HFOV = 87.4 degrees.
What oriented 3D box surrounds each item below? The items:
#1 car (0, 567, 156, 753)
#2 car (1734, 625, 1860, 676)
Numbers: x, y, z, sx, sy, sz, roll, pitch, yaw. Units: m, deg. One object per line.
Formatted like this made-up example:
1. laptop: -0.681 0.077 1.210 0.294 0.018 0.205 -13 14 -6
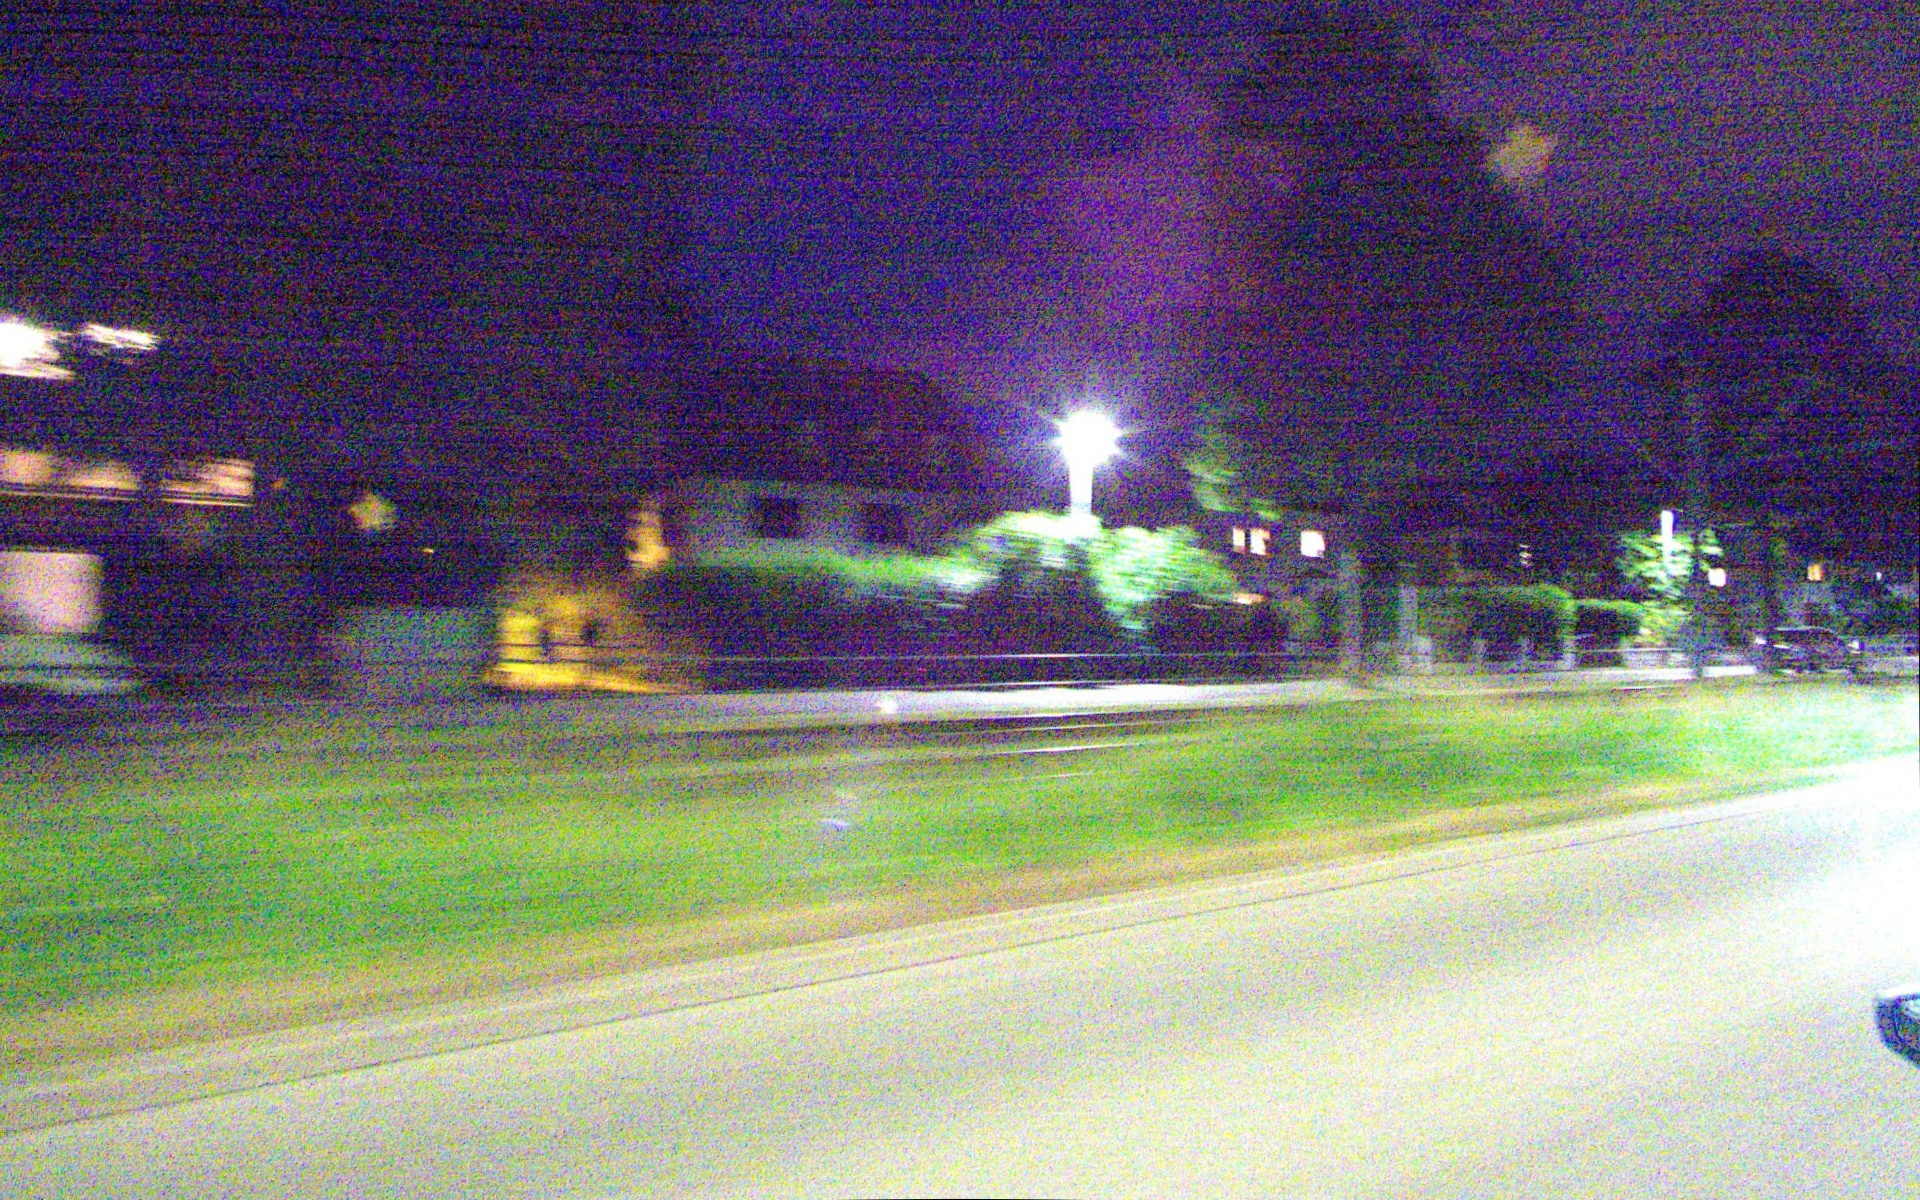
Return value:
1. car: -11.608 0.600 10.462 4.828 1.929 1.846 2 -2 -33
2. car: 29.019 1.712 34.798 4.624 1.649 1.984 2 -2 -31
